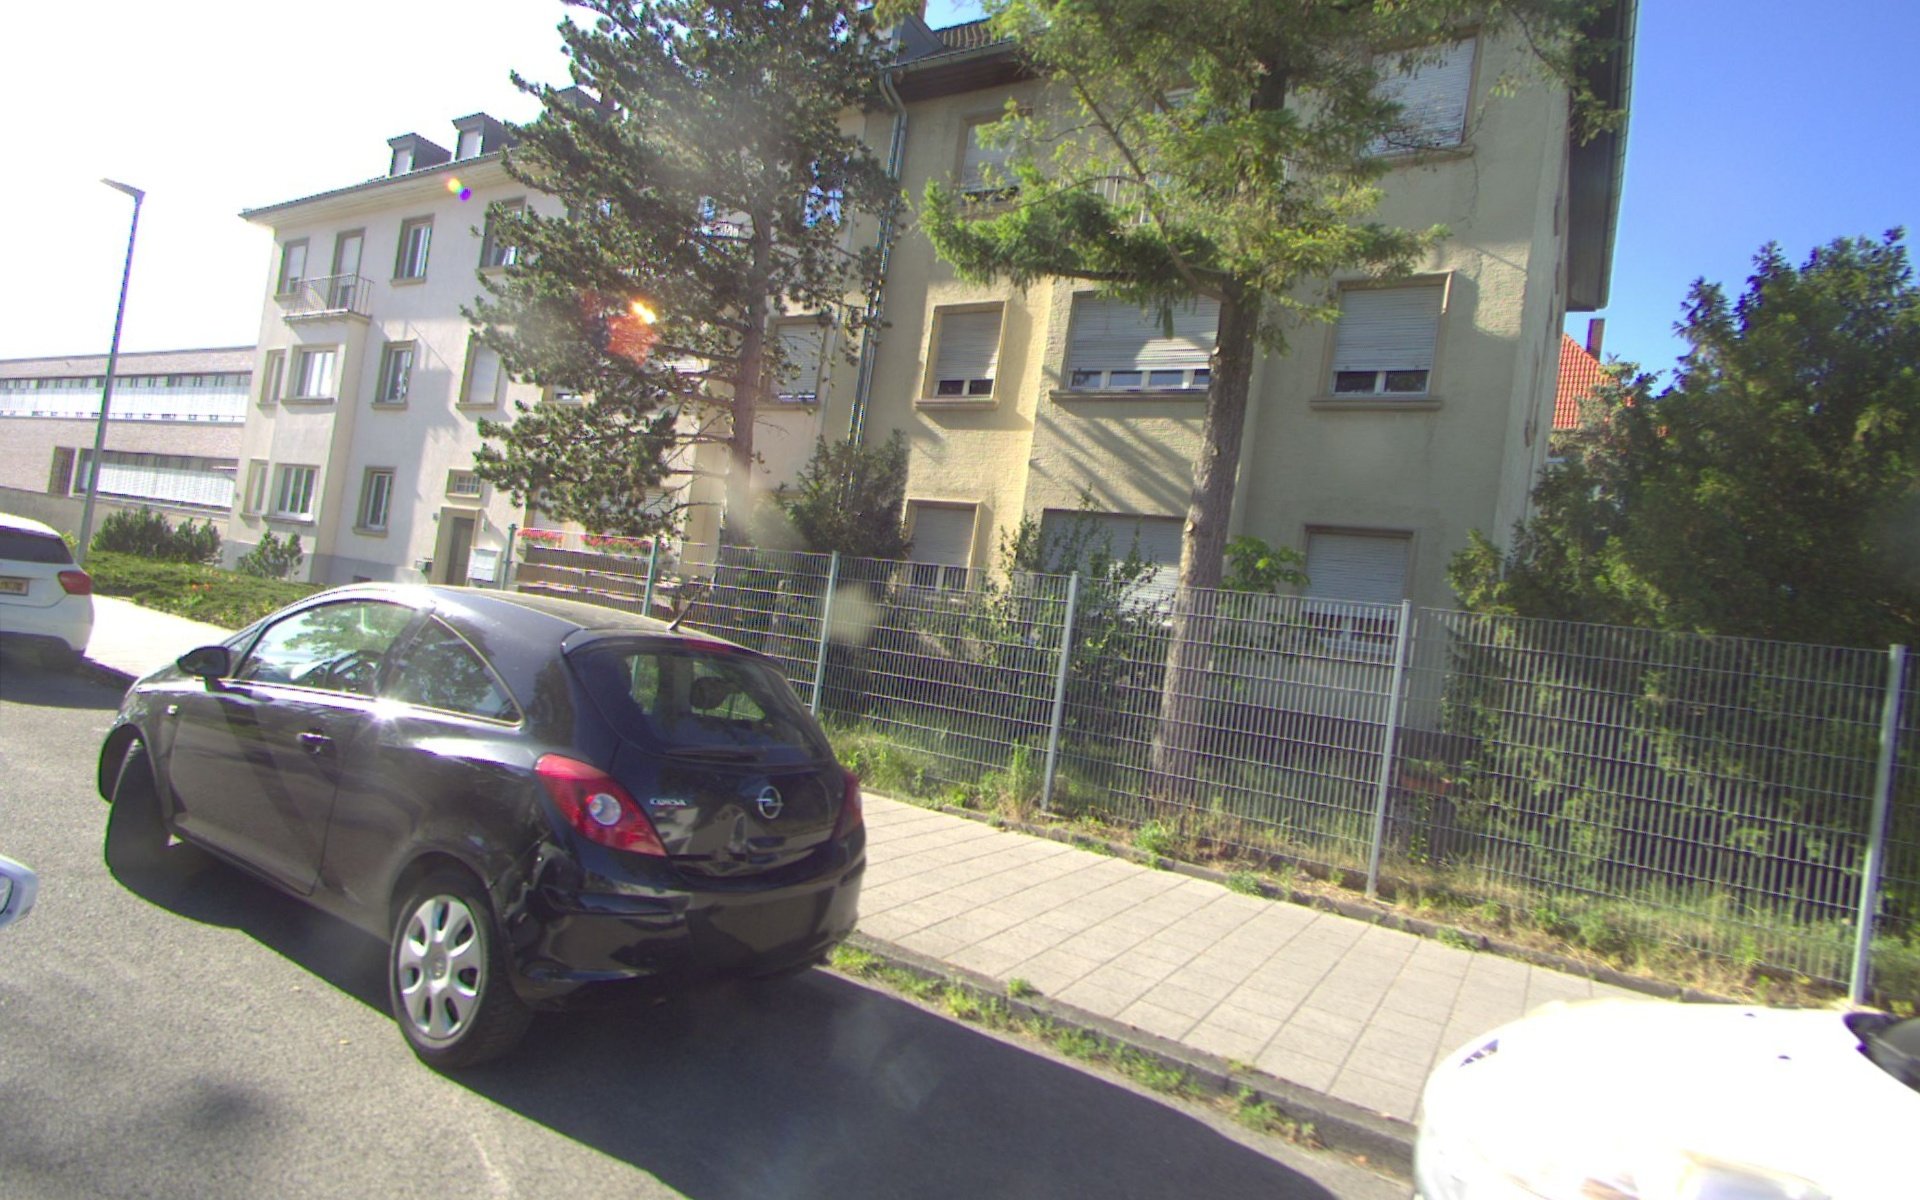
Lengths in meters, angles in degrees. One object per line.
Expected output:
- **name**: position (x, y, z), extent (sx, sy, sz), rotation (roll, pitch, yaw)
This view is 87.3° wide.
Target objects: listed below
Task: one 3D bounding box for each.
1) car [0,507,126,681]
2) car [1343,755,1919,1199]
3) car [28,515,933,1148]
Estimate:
- **car**: position (-10.362, -0.275, 10.072), extent (3.934, 1.511, 1.800), rotation (7, -3, 32)
- **car**: position (2.735, 1.296, 1.658), extent (3.713, 1.413, 1.706), rotation (7, -3, 31)
- **car**: position (-2.227, 0.645, 4.435), extent (3.763, 1.511, 1.676), rotation (7, -3, 32)
